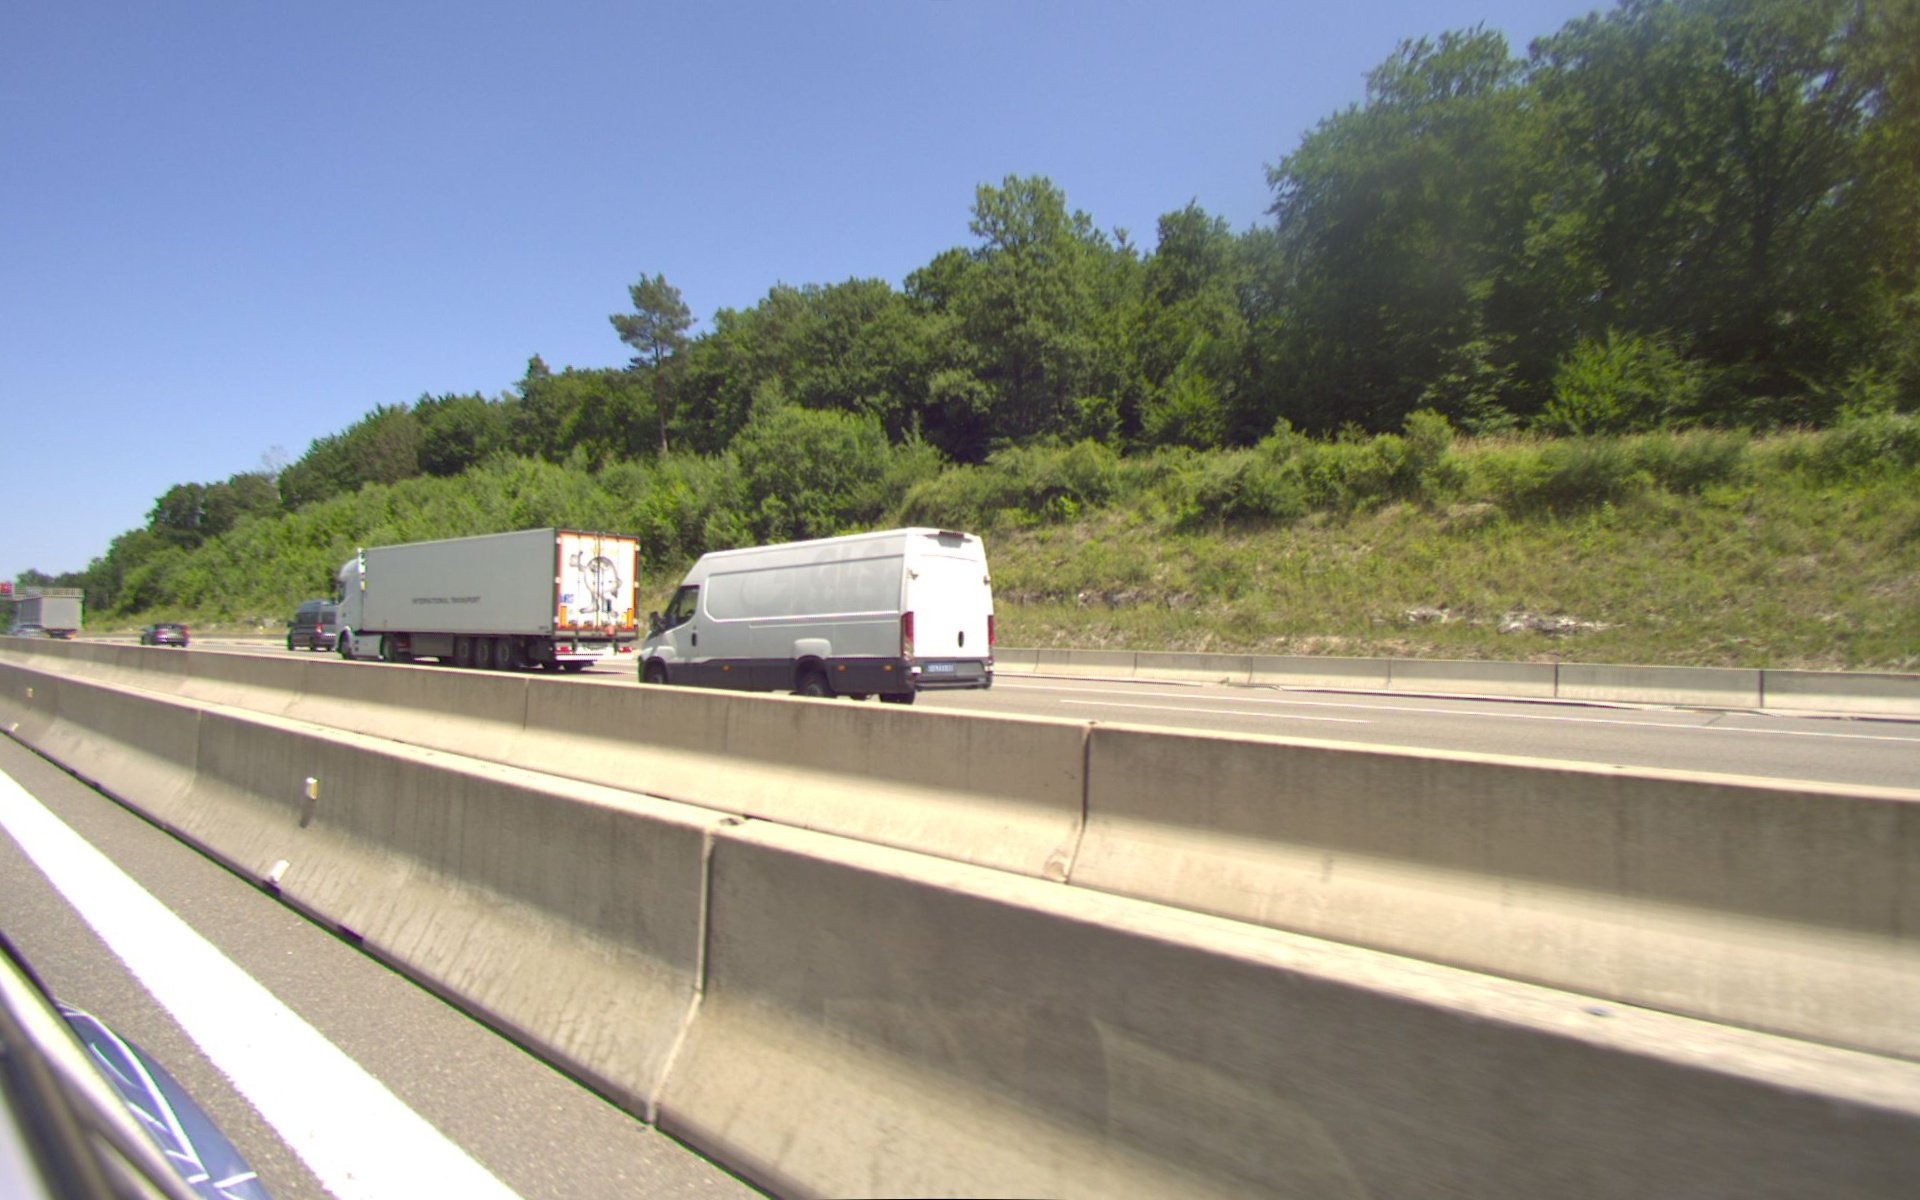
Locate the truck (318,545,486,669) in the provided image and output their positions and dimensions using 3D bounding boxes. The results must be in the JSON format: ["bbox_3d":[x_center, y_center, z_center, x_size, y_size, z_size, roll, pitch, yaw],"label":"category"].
[{"bbox_3d":[-20.552,0.291,37.052,7.784,4.100,2.865,-1,-2,41],"label":"truck"}]

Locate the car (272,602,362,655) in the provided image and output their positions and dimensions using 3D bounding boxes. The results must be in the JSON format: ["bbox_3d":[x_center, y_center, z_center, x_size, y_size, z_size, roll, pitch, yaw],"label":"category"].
[{"bbox_3d":[-34.329,1.516,53.937,6.775,2.684,2.118,-1,-3,41],"label":"car"}]

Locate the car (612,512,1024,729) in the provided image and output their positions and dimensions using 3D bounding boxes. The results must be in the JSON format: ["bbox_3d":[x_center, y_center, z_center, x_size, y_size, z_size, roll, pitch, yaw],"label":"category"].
[{"bbox_3d":[-2.633,0.333,16.403,7.598,2.821,2.064,-1,-3,41],"label":"car"}]

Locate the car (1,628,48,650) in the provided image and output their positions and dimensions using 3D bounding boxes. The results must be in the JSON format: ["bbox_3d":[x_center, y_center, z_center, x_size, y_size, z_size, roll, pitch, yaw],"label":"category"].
[{"bbox_3d":[-67.706,2.789,73.239,5.440,1.517,2.006,-1,-2,42],"label":"car"}]

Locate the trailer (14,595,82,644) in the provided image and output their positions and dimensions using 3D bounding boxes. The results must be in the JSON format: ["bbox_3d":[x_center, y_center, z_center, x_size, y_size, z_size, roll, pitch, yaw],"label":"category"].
[{"bbox_3d":[-84.912,1.875,94.082,13.835,4.286,3.067,-2,-3,42],"label":"trailer"}]

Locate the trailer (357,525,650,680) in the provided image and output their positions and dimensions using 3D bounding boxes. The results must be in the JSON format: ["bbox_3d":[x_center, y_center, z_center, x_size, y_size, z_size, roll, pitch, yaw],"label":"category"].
[{"bbox_3d":[-15.100,0.189,32.410,13.829,4.115,2.896,-1,-2,40],"label":"trailer"}]

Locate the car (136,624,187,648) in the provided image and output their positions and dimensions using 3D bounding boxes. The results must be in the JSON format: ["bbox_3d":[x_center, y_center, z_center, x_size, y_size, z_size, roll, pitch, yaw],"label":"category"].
[{"bbox_3d":[-48.532,2.167,61.472,4.437,1.418,1.650,-1,-2,41],"label":"car"}]
